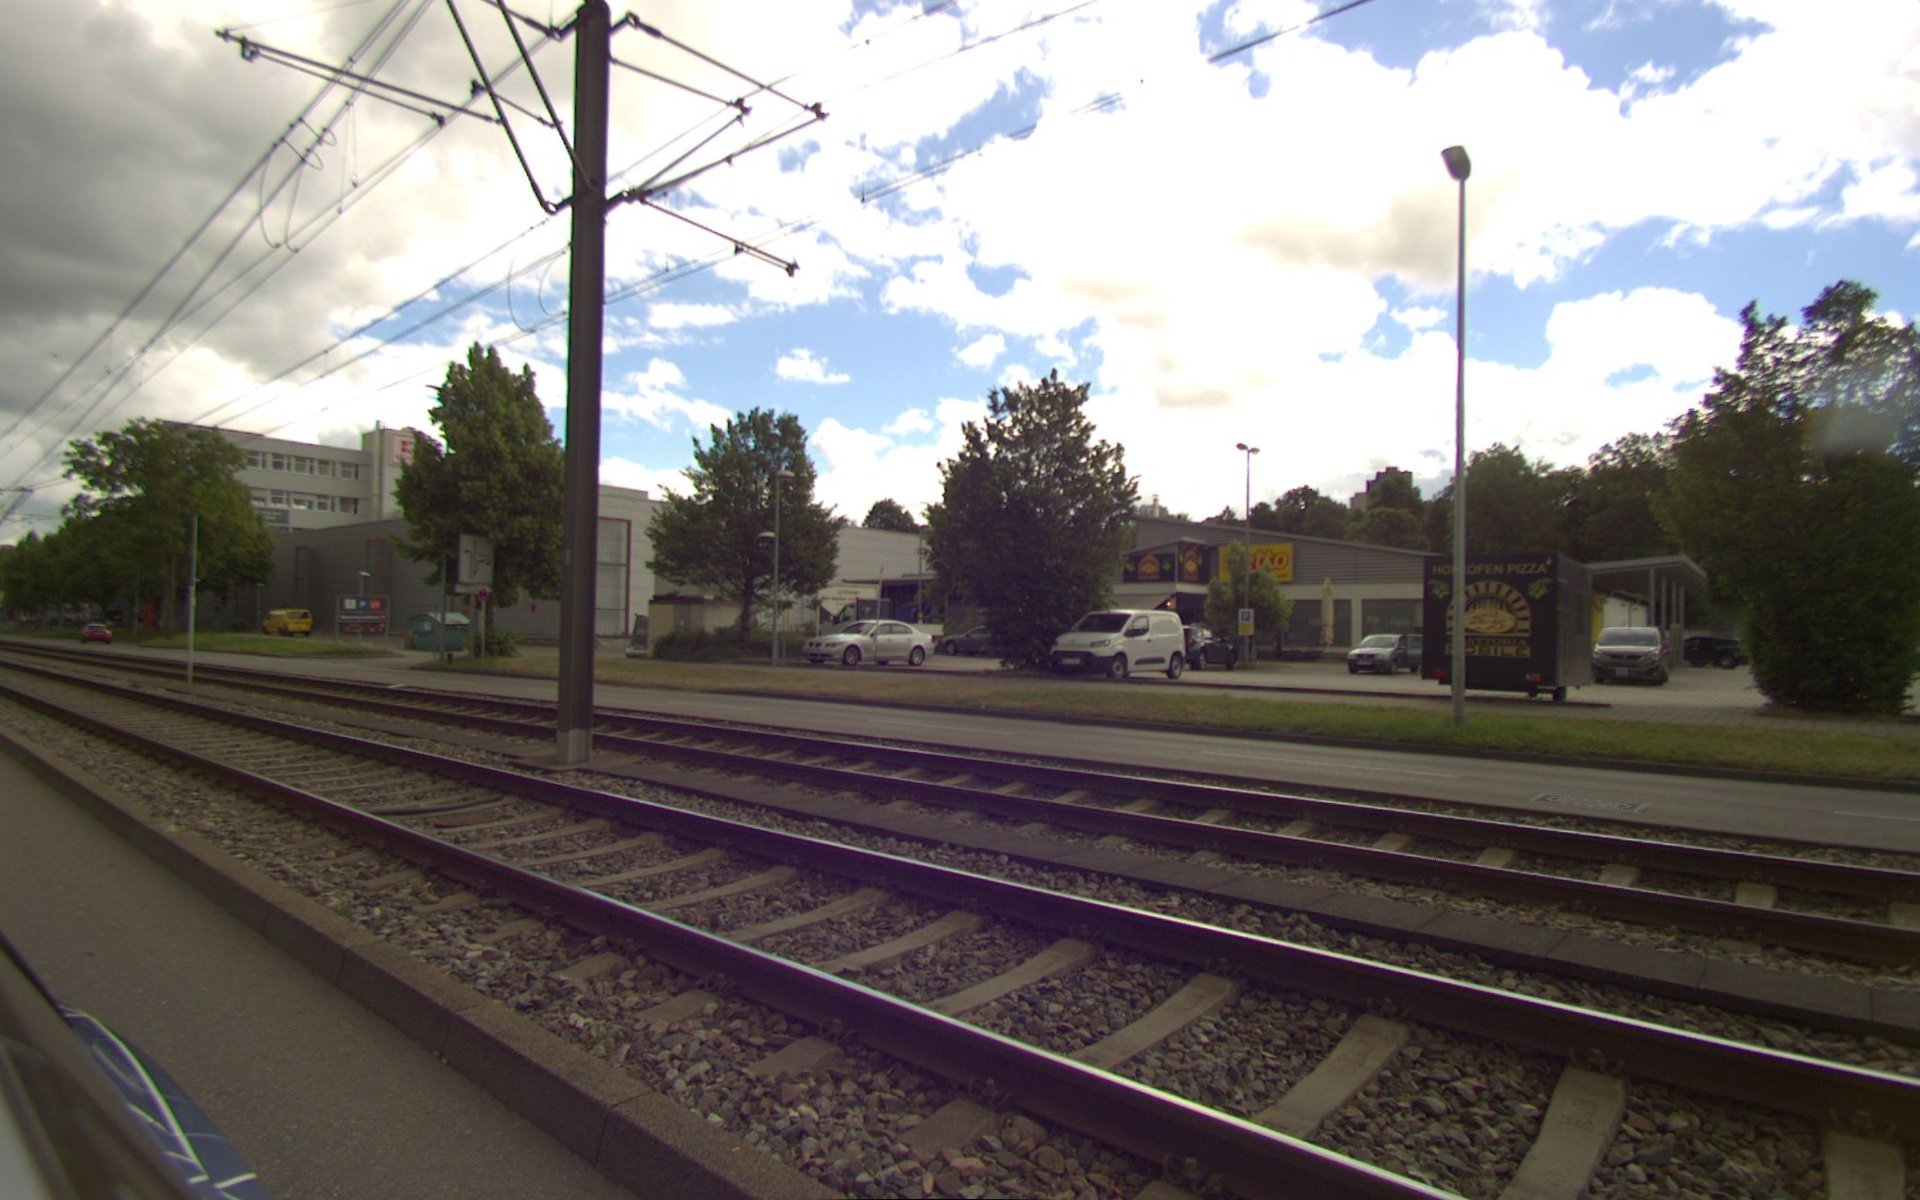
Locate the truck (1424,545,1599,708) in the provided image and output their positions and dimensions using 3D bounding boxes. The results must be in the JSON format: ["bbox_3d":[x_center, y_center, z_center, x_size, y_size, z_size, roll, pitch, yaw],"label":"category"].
[{"bbox_3d":[10.908,0.550,19.909,2.373,2.843,3.948,-1,-3,38],"label":"truck"}]

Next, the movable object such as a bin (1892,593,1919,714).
[{"bbox_3d":[16.948,0.907,16.855,1.676,1.952,3.949,-1,-3,37],"label":"movable object such as a bin"}]

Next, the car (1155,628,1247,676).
[{"bbox_3d":[8.907,1.889,37.207,1.873,1.666,3.949,-1,-3,38],"label":"car"}]

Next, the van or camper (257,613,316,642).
[{"bbox_3d":[-49.937,2.050,74.956,5.235,2.029,2.083,-1,-2,38],"label":"van or camper"}]

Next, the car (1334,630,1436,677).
[{"bbox_3d":[15.937,1.975,37.875,2.465,1.652,3.881,-1,-3,40],"label":"car"}]

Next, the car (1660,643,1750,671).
[{"bbox_3d":[38.248,2.896,51.999,3.588,1.344,1.455,-1,-3,41],"label":"car"}]

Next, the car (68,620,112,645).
[{"bbox_3d":[-64.606,2.416,75.107,3.996,1.785,1.774,-1,-2,39],"label":"car"}]

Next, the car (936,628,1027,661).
[{"bbox_3d":[0.965,2.018,46.412,3.991,1.411,1.596,-1,-2,36],"label":"car"}]

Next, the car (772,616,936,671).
[{"bbox_3d":[-3.350,1.391,32.588,2.651,1.641,4.730,-2,-3,42],"label":"car"}]

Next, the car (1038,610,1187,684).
[{"bbox_3d":[4.000,1.186,26.051,1.993,1.740,4.178,-1,-3,39],"label":"car"}]

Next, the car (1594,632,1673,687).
[{"bbox_3d":[21.875,1.898,32.813,1.687,1.652,3.881,-1,-3,40],"label":"car"}]

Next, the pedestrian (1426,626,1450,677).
[{"bbox_3d":[17.592,1.888,37.223,0.663,1.869,0.539,-1,-3,41],"label":"pedestrian"}]

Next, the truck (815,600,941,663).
[{"bbox_3d":[-3.378,1.277,40.946,5.261,2.401,1.972,-1,-3,41],"label":"truck"}]
